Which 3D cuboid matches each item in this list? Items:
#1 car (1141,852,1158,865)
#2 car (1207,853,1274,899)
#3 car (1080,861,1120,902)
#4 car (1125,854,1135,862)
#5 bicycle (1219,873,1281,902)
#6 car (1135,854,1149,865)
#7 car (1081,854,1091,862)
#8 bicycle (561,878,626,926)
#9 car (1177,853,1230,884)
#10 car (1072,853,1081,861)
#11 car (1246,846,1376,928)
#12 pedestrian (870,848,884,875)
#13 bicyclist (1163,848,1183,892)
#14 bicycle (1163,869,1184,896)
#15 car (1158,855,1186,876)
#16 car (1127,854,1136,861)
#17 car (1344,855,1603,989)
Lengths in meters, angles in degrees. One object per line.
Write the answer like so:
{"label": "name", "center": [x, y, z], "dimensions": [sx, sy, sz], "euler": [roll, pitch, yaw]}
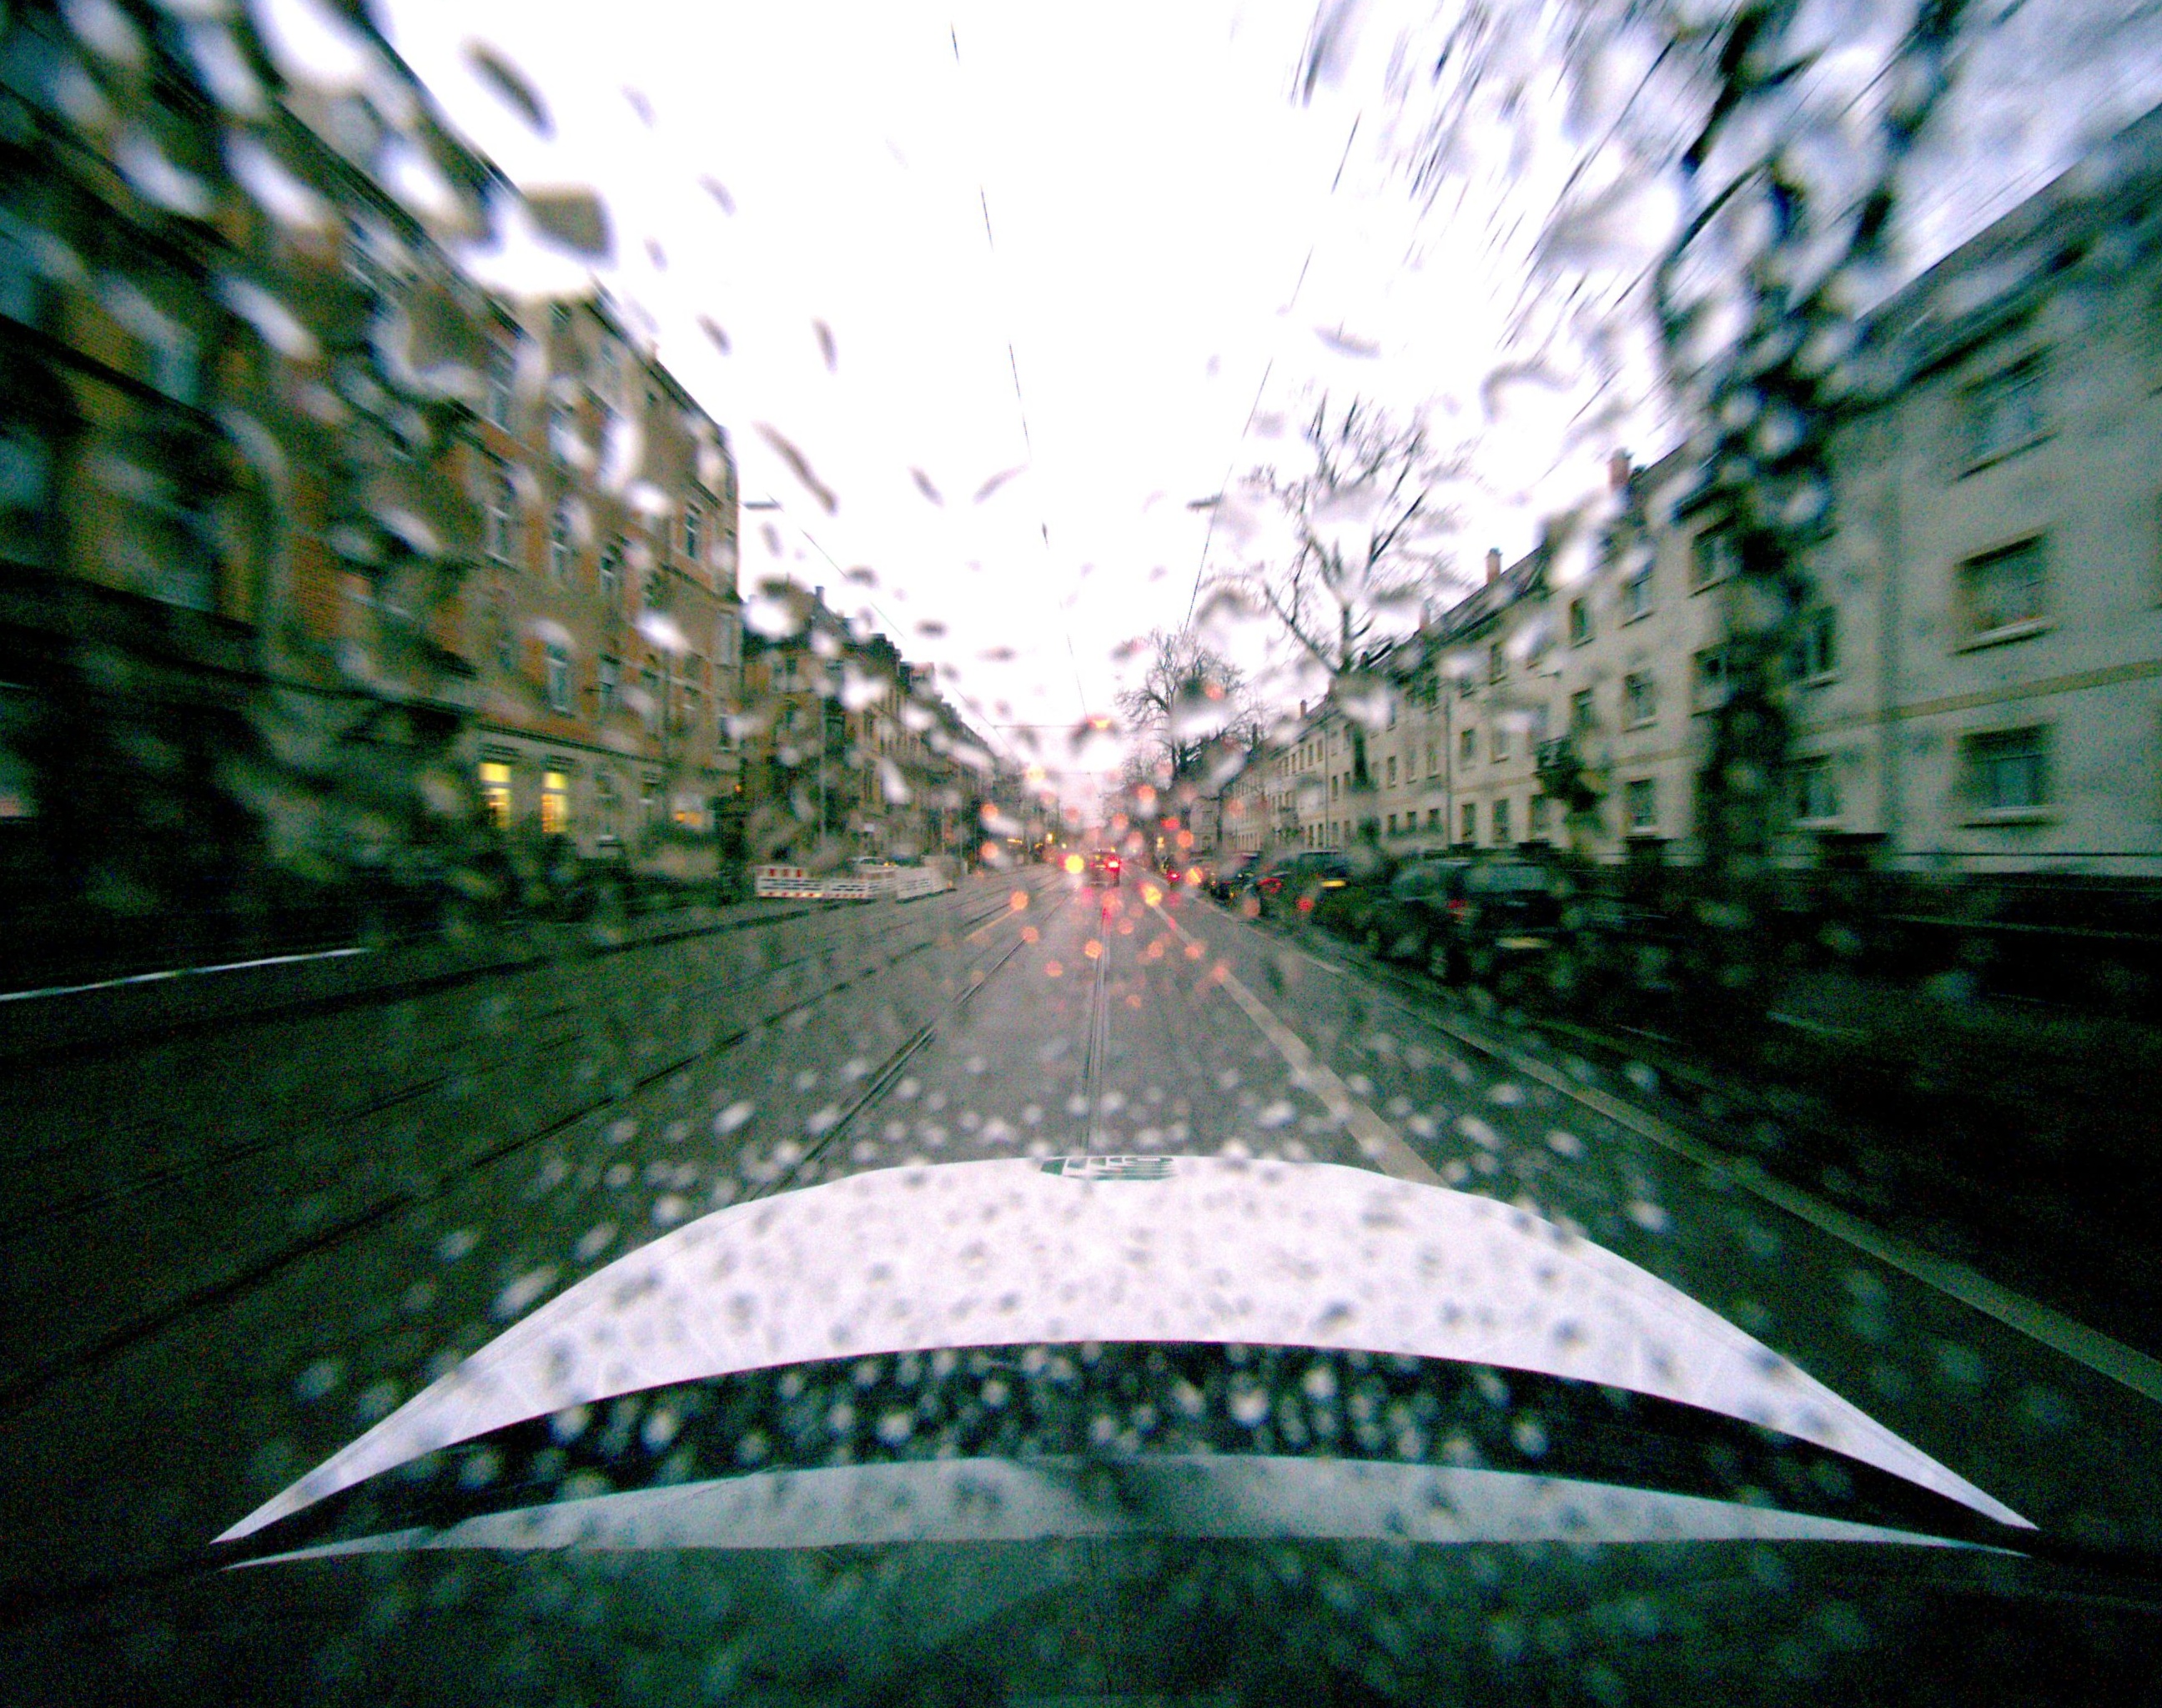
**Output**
{"label": "car", "center": [8.229, 0.528, 97.972], "dimensions": [1.778, 1.509, 4.110], "euler": [-1, 0, 2]}
{"label": "car", "center": [5.968, 0.771, 30.921], "dimensions": [1.897, 1.610, 4.565], "euler": [-1, 0, 3]}
{"label": "car", "center": [1.019, 1.334, 41.413], "dimensions": [1.794, 1.871, 4.022], "euler": [2, 0, 3]}
{"label": "car", "center": [9.652, 0.768, 161.345], "dimensions": [1.778, 1.509, 4.110], "euler": [-1, 0, 2]}
{"label": "bicycle", "center": [5.687, 1.135, 27.465], "dimensions": [2.001, 0.916, 0.466], "euler": [-2, 0, 10]}
{"label": "car", "center": [8.719, 0.735, 115.999], "dimensions": [1.778, 1.509, 4.110], "euler": [-1, 0, 2]}
{"label": "car", "center": [1.017, 0.808, 161.340], "dimensions": [1.916, 1.662, 4.002], "euler": [-1, 0, 2]}
{"label": "bicycle", "center": [-10.409, 1.007, 17.447], "dimensions": [0.262, 0.915, 1.686], "euler": [5, 0, 2]}
{"label": "car", "center": [6.210, 0.704, 41.720], "dimensions": [1.874, 1.420, 4.340], "euler": [-3, 0, -2]}
{"label": "car", "center": [-0.959, 0.571, 178.149], "dimensions": [1.916, 1.720, 4.002], "euler": [-1, 0, 2]}
{"label": "car", "center": [5.464, 0.707, 20.027], "dimensions": [1.899, 1.727, 4.904], "euler": [-1, 0, 1]}
{"label": "pedestrian", "center": [-13.780, 0.493, 54.952], "dimensions": [0.723, 1.773, 0.763], "euler": [-1, 0, -29]}
{"label": "bicyclist", "center": [3.671, 0.623, 32.426], "dimensions": [0.727, 1.736, 0.766], "euler": [-1, 0, 3]}
{"label": "bicycle", "center": [3.682, 1.124, 32.447], "dimensions": [0.728, 1.007, 1.765], "euler": [-1, 0, 3]}
{"label": "car", "center": [6.671, 0.814, 60.127], "dimensions": [1.778, 1.509, 4.112], "euler": [-1, 0, 3]}
{"label": "car", "center": [10.816, 0.719, 174.854], "dimensions": [1.778, 1.509, 4.110], "euler": [-1, 0, 2]}
{"label": "car", "center": [5.200, 0.792, 11.450], "dimensions": [1.779, 1.509, 3.989], "euler": [-1, 0, 1]}
